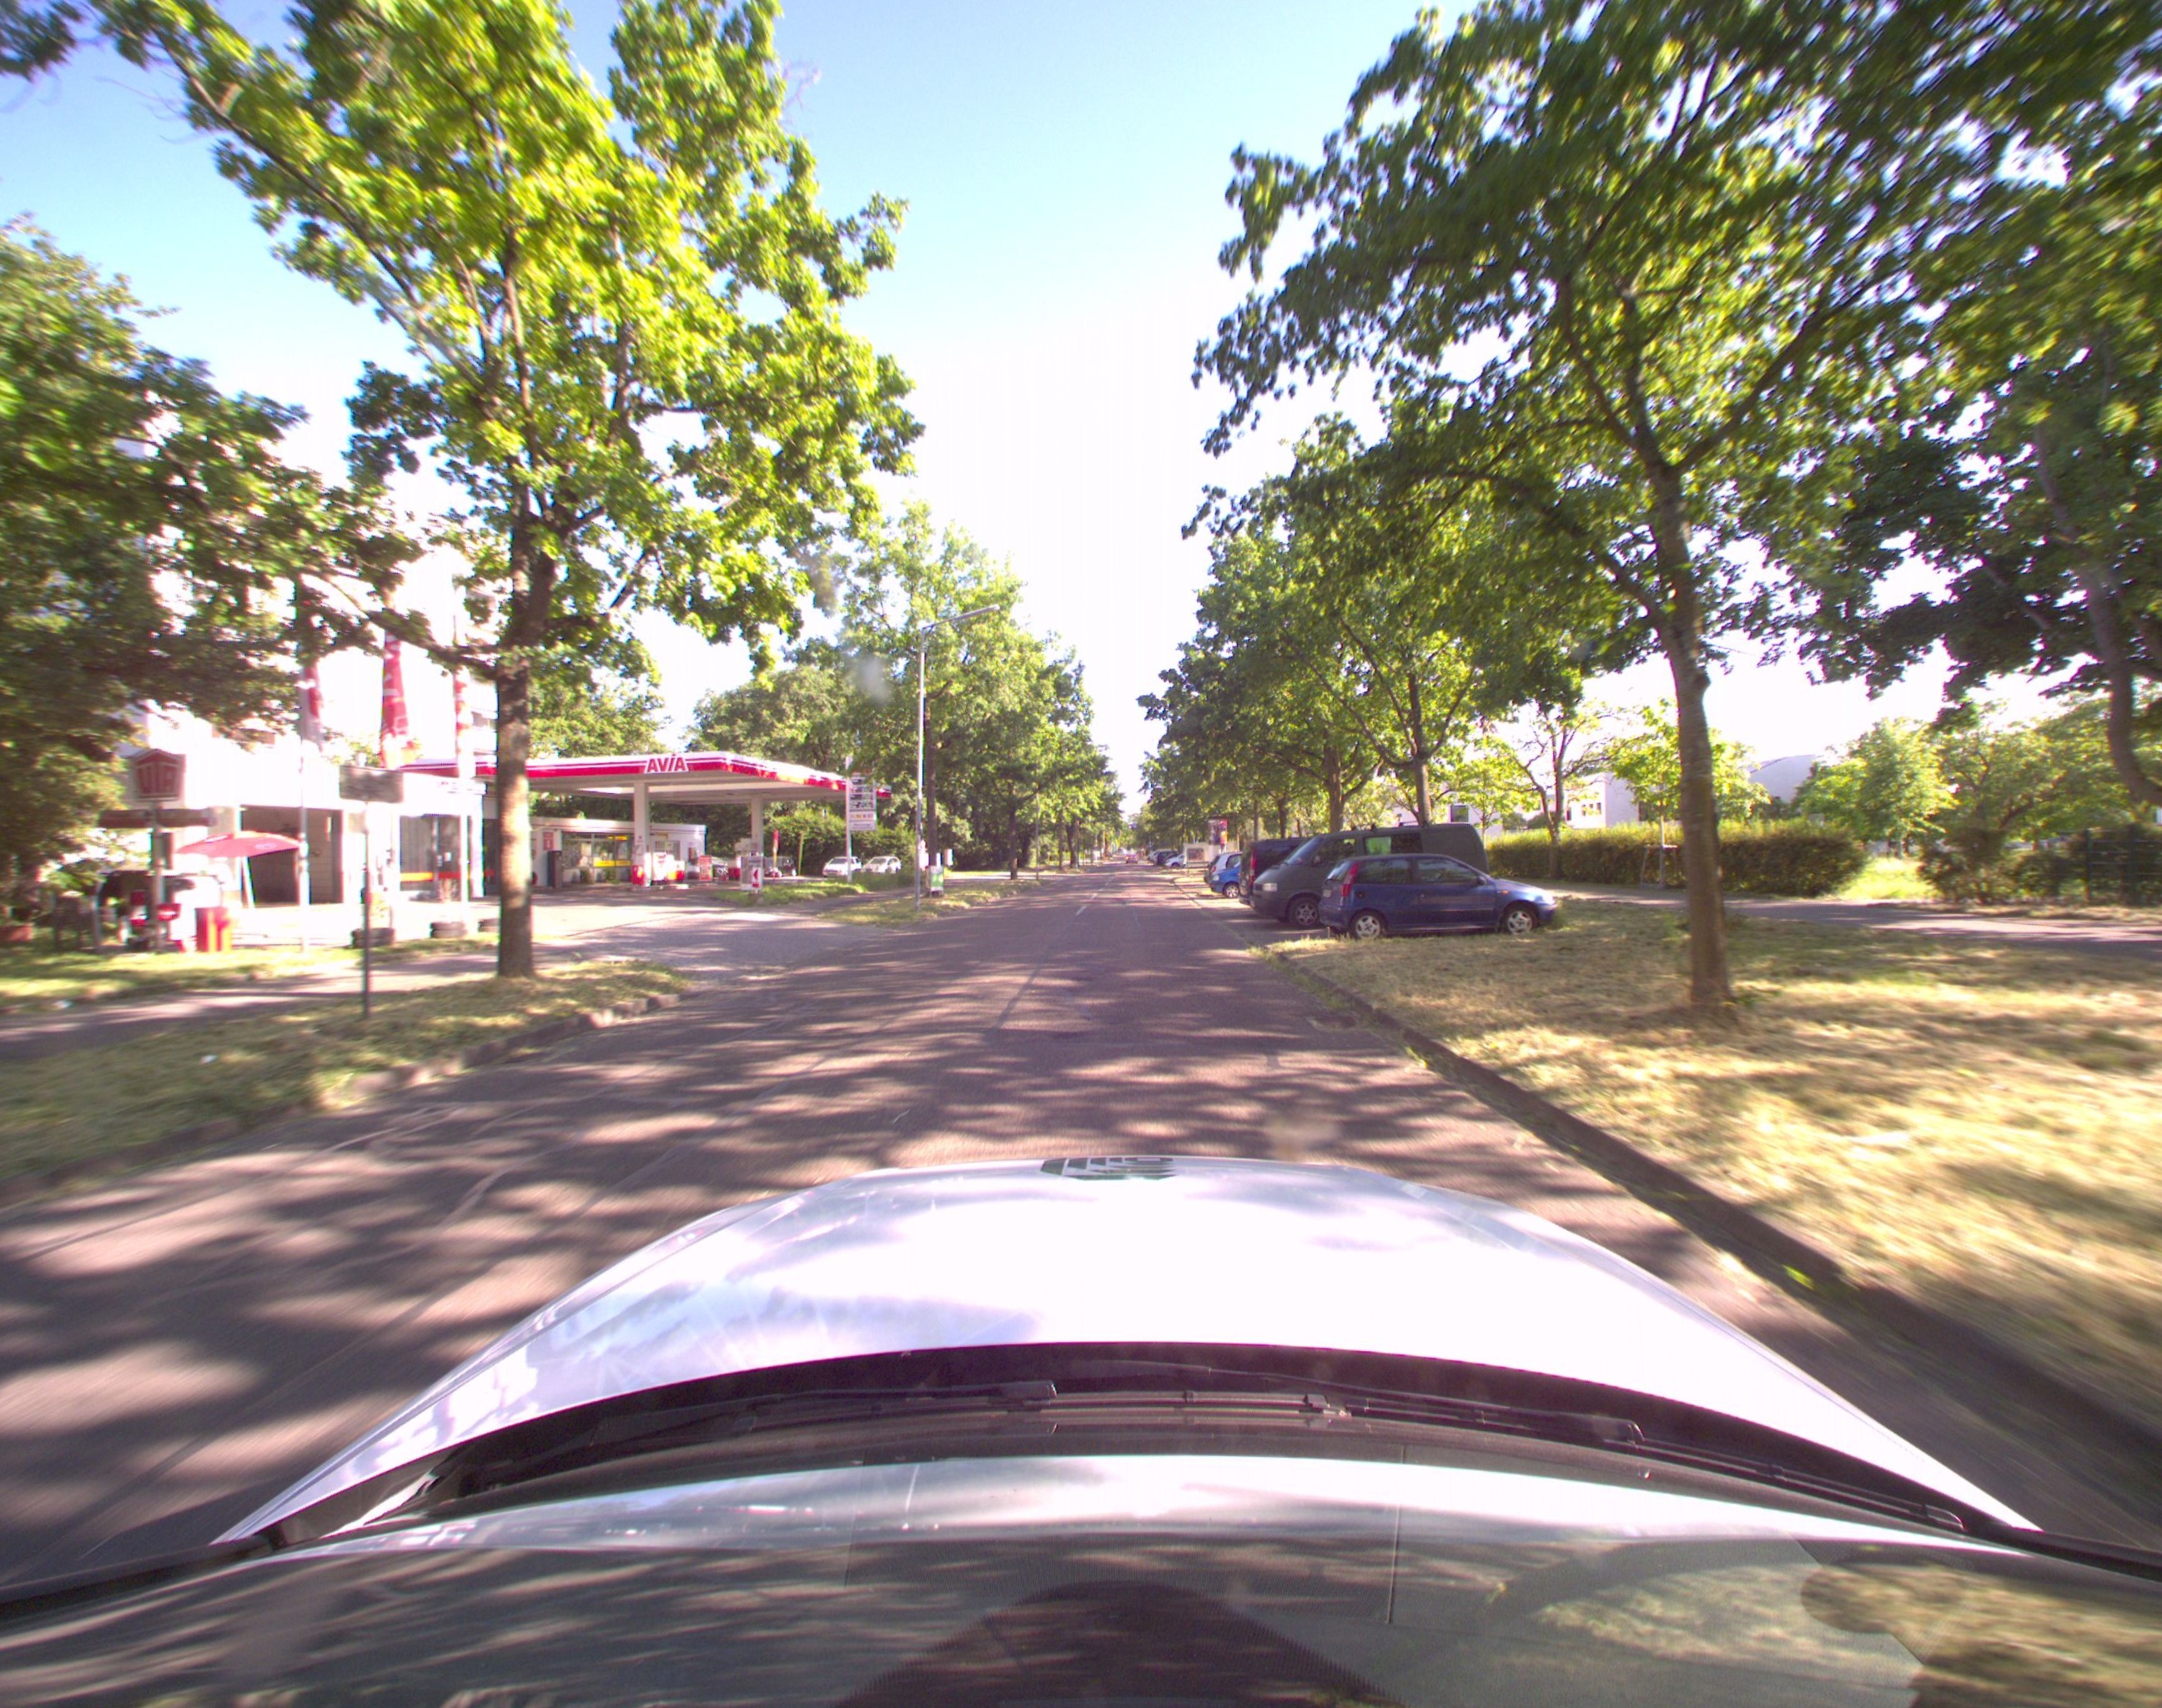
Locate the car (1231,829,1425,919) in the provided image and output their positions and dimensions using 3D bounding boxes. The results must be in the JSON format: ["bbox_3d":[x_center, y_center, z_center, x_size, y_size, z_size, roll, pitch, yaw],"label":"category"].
[{"bbox_3d":[5.747,0.460,19.290,3.995,1.837,1.799,-3,-1,0],"label":"car"}]

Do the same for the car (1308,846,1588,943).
[{"bbox_3d":[6.087,0.651,13.868,3.972,1.403,1.741,-2,0,3],"label":"car"}]

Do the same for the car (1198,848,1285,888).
[{"bbox_3d":[7.220,0.616,36.807,3.569,1.576,1.858,-3,-1,2],"label":"car"}]

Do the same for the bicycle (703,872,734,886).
[{"bbox_3d":[-21.629,1.488,48.595,0.612,0.807,1.788,-1,0,18],"label":"bicycle"}]

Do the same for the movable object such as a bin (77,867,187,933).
[{"bbox_3d":[-22.924,1.085,19.698,1.298,1.542,1.165,0,0,4],"label":"movable object such as a bin"}]

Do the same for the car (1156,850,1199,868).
[{"bbox_3d":[10.467,0.530,88.755,4.510,1.801,1.938,-2,0,3],"label":"car"}]

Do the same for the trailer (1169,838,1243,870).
[{"bbox_3d":[10.114,-0.009,66.331,5.746,2.317,1.688,-3,0,5],"label":"trailer"}]

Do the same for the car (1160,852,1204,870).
[{"bbox_3d":[10.124,0.693,81.883,4.226,1.519,2.081,-2,0,4],"label":"car"}]

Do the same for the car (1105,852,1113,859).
[{"bbox_3d":[7.554,0.453,219.500,1.985,1.716,4.003,-1,0,3],"label":"car"}]

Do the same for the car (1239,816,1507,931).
[{"bbox_3d":[5.832,0.386,16.758,4.783,2.032,1.945,-2,0,3],"label":"car"}]

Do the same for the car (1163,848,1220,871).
[{"bbox_3d":[9.320,0.479,69.240,4.621,1.722,1.990,-3,0,4],"label":"car"}]

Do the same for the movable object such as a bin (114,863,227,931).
[{"bbox_3d":[-21.995,1.019,19.713,1.298,1.542,1.269,-1,0,4],"label":"movable object such as a bin"}]

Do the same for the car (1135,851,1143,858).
[{"bbox_3d":[15.238,0.166,212.965,1.985,1.716,4.003,-1,0,3],"label":"car"}]

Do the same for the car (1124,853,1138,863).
[{"bbox_3d":[7.610,0.654,124.234,1.986,1.484,4.002,-1,0,2],"label":"car"}]

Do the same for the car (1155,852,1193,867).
[{"bbox_3d":[11.779,0.676,103.088,4.650,1.580,1.919,-3,0,4],"label":"car"}]

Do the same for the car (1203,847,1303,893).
[{"bbox_3d":[6.664,0.596,31.828,3.566,1.576,1.789,-3,-1,5],"label":"car"}]

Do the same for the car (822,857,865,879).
[{"bbox_3d":[-16.213,0.932,55.694,1.413,1.367,3.215,1,0,12],"label":"car"}]

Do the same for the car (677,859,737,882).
[{"bbox_3d":[-24.522,1.053,53.451,3.174,1.400,1.590,1,0,11],"label":"car"}]

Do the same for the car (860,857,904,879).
[{"bbox_3d":[-13.543,0.926,55.584,1.536,1.422,3.498,1,0,12],"label":"car"}]

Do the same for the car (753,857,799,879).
[{"bbox_3d":[-20.798,0.942,55.601,1.413,1.367,3.215,1,0,12],"label":"car"}]

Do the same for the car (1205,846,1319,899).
[{"bbox_3d":[5.982,0.605,27.243,3.504,1.532,1.667,-3,-1,5],"label":"car"}]

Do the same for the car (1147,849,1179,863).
[{"bbox_3d":[13.631,0.292,136.101,5.167,2.105,2.083,-2,0,2],"label":"car"}]
